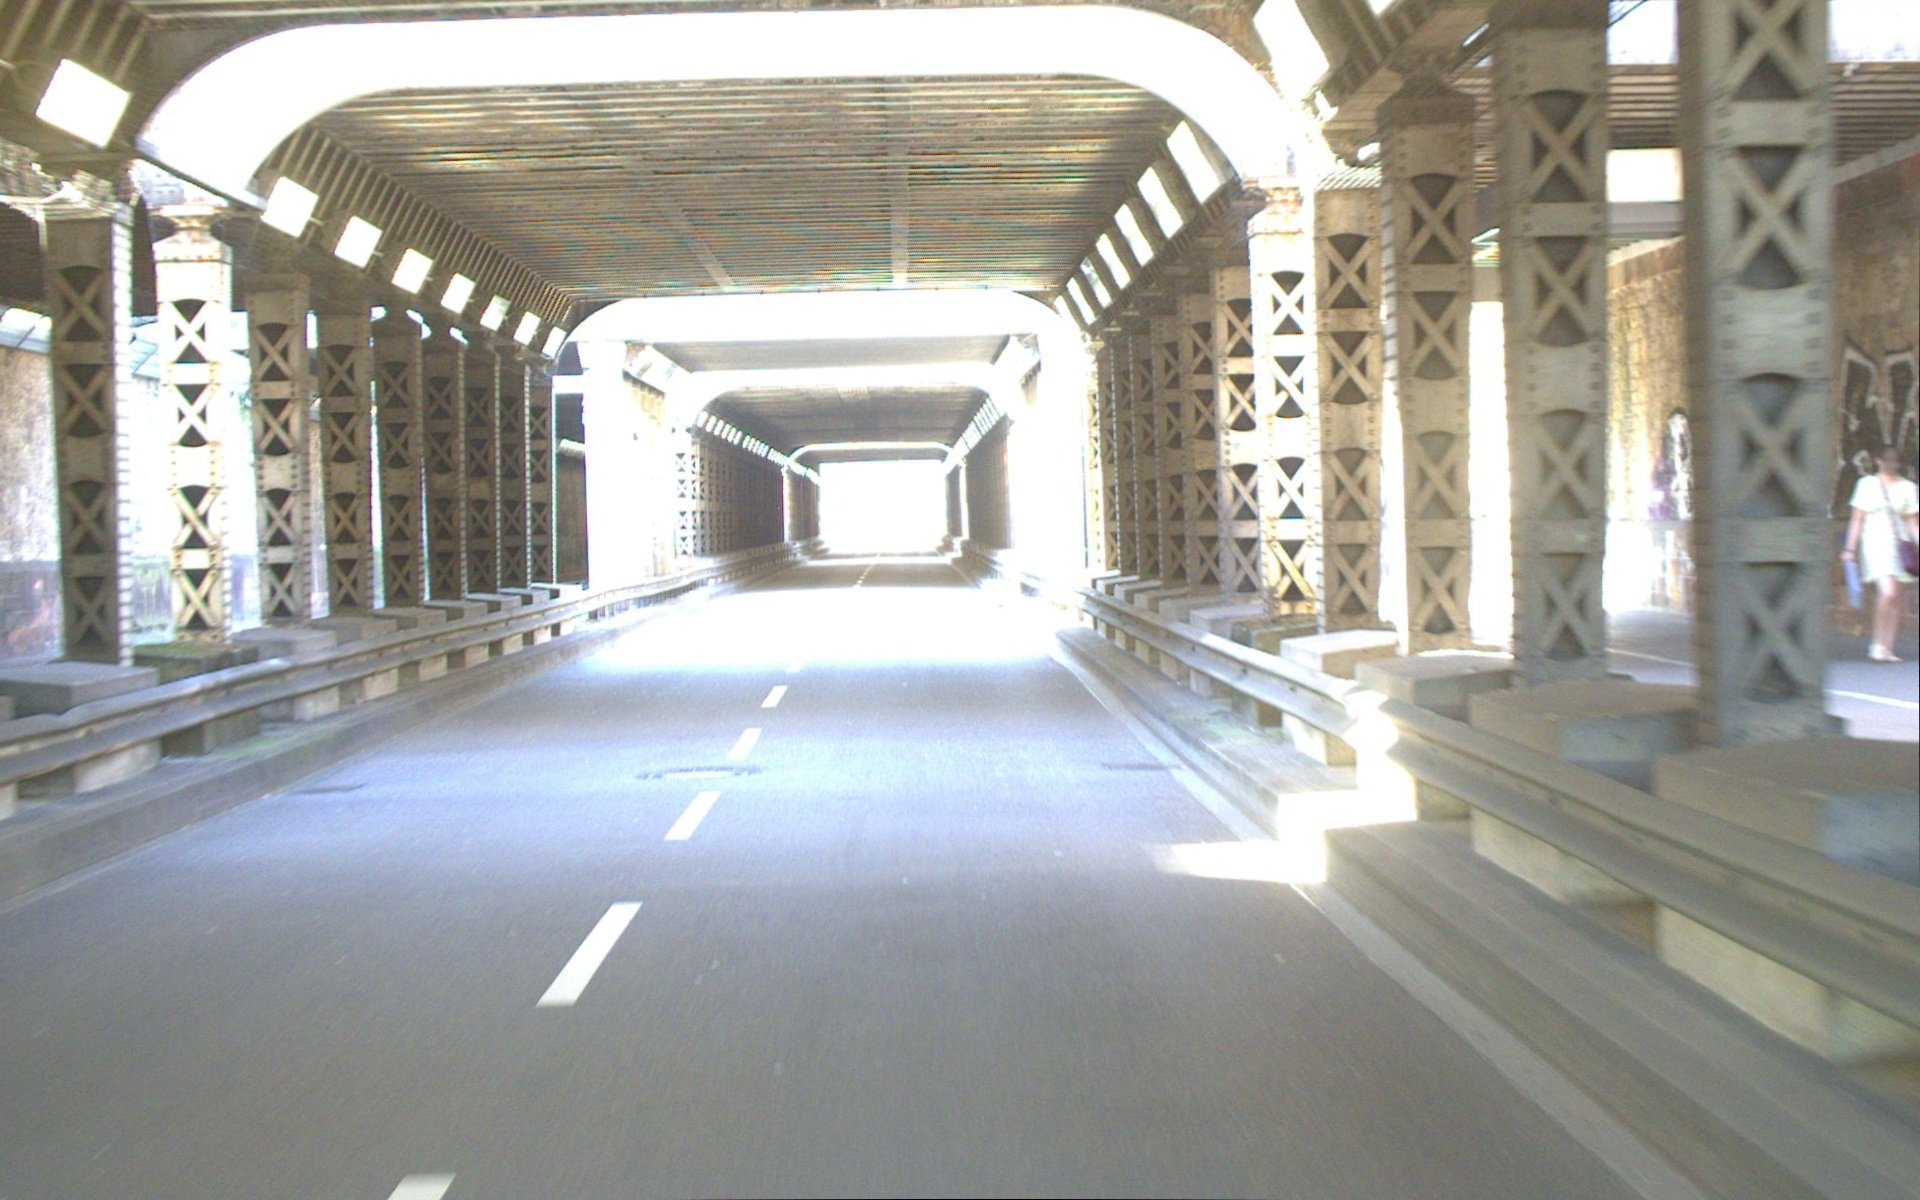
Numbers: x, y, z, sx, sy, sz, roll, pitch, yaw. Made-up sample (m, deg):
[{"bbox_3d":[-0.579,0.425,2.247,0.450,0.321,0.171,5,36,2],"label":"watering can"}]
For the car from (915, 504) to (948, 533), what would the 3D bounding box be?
[{"bbox_3d":[-1.809,-5.173,217.408,1.993,1.778,4.001,-2,2,-1],"label":"car"}]

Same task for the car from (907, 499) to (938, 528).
[{"bbox_3d":[-2.472,-5.696,226.390,1.993,1.778,4.001,-2,2,-1],"label":"car"}]

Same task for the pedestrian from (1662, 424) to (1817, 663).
[{"bbox_3d":[6.226,-0.456,27.502,0.880,1.829,0.923,-4,2,-4],"label":"pedestrian"}]

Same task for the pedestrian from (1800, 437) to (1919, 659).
[{"bbox_3d":[7.144,-0.415,26.644,0.916,1.650,0.886,-4,2,-4],"label":"pedestrian"}]

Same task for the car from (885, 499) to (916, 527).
[{"bbox_3d":[-4.019,-5.900,232.689,1.993,1.778,4.001,-2,2,-1],"label":"car"}]
